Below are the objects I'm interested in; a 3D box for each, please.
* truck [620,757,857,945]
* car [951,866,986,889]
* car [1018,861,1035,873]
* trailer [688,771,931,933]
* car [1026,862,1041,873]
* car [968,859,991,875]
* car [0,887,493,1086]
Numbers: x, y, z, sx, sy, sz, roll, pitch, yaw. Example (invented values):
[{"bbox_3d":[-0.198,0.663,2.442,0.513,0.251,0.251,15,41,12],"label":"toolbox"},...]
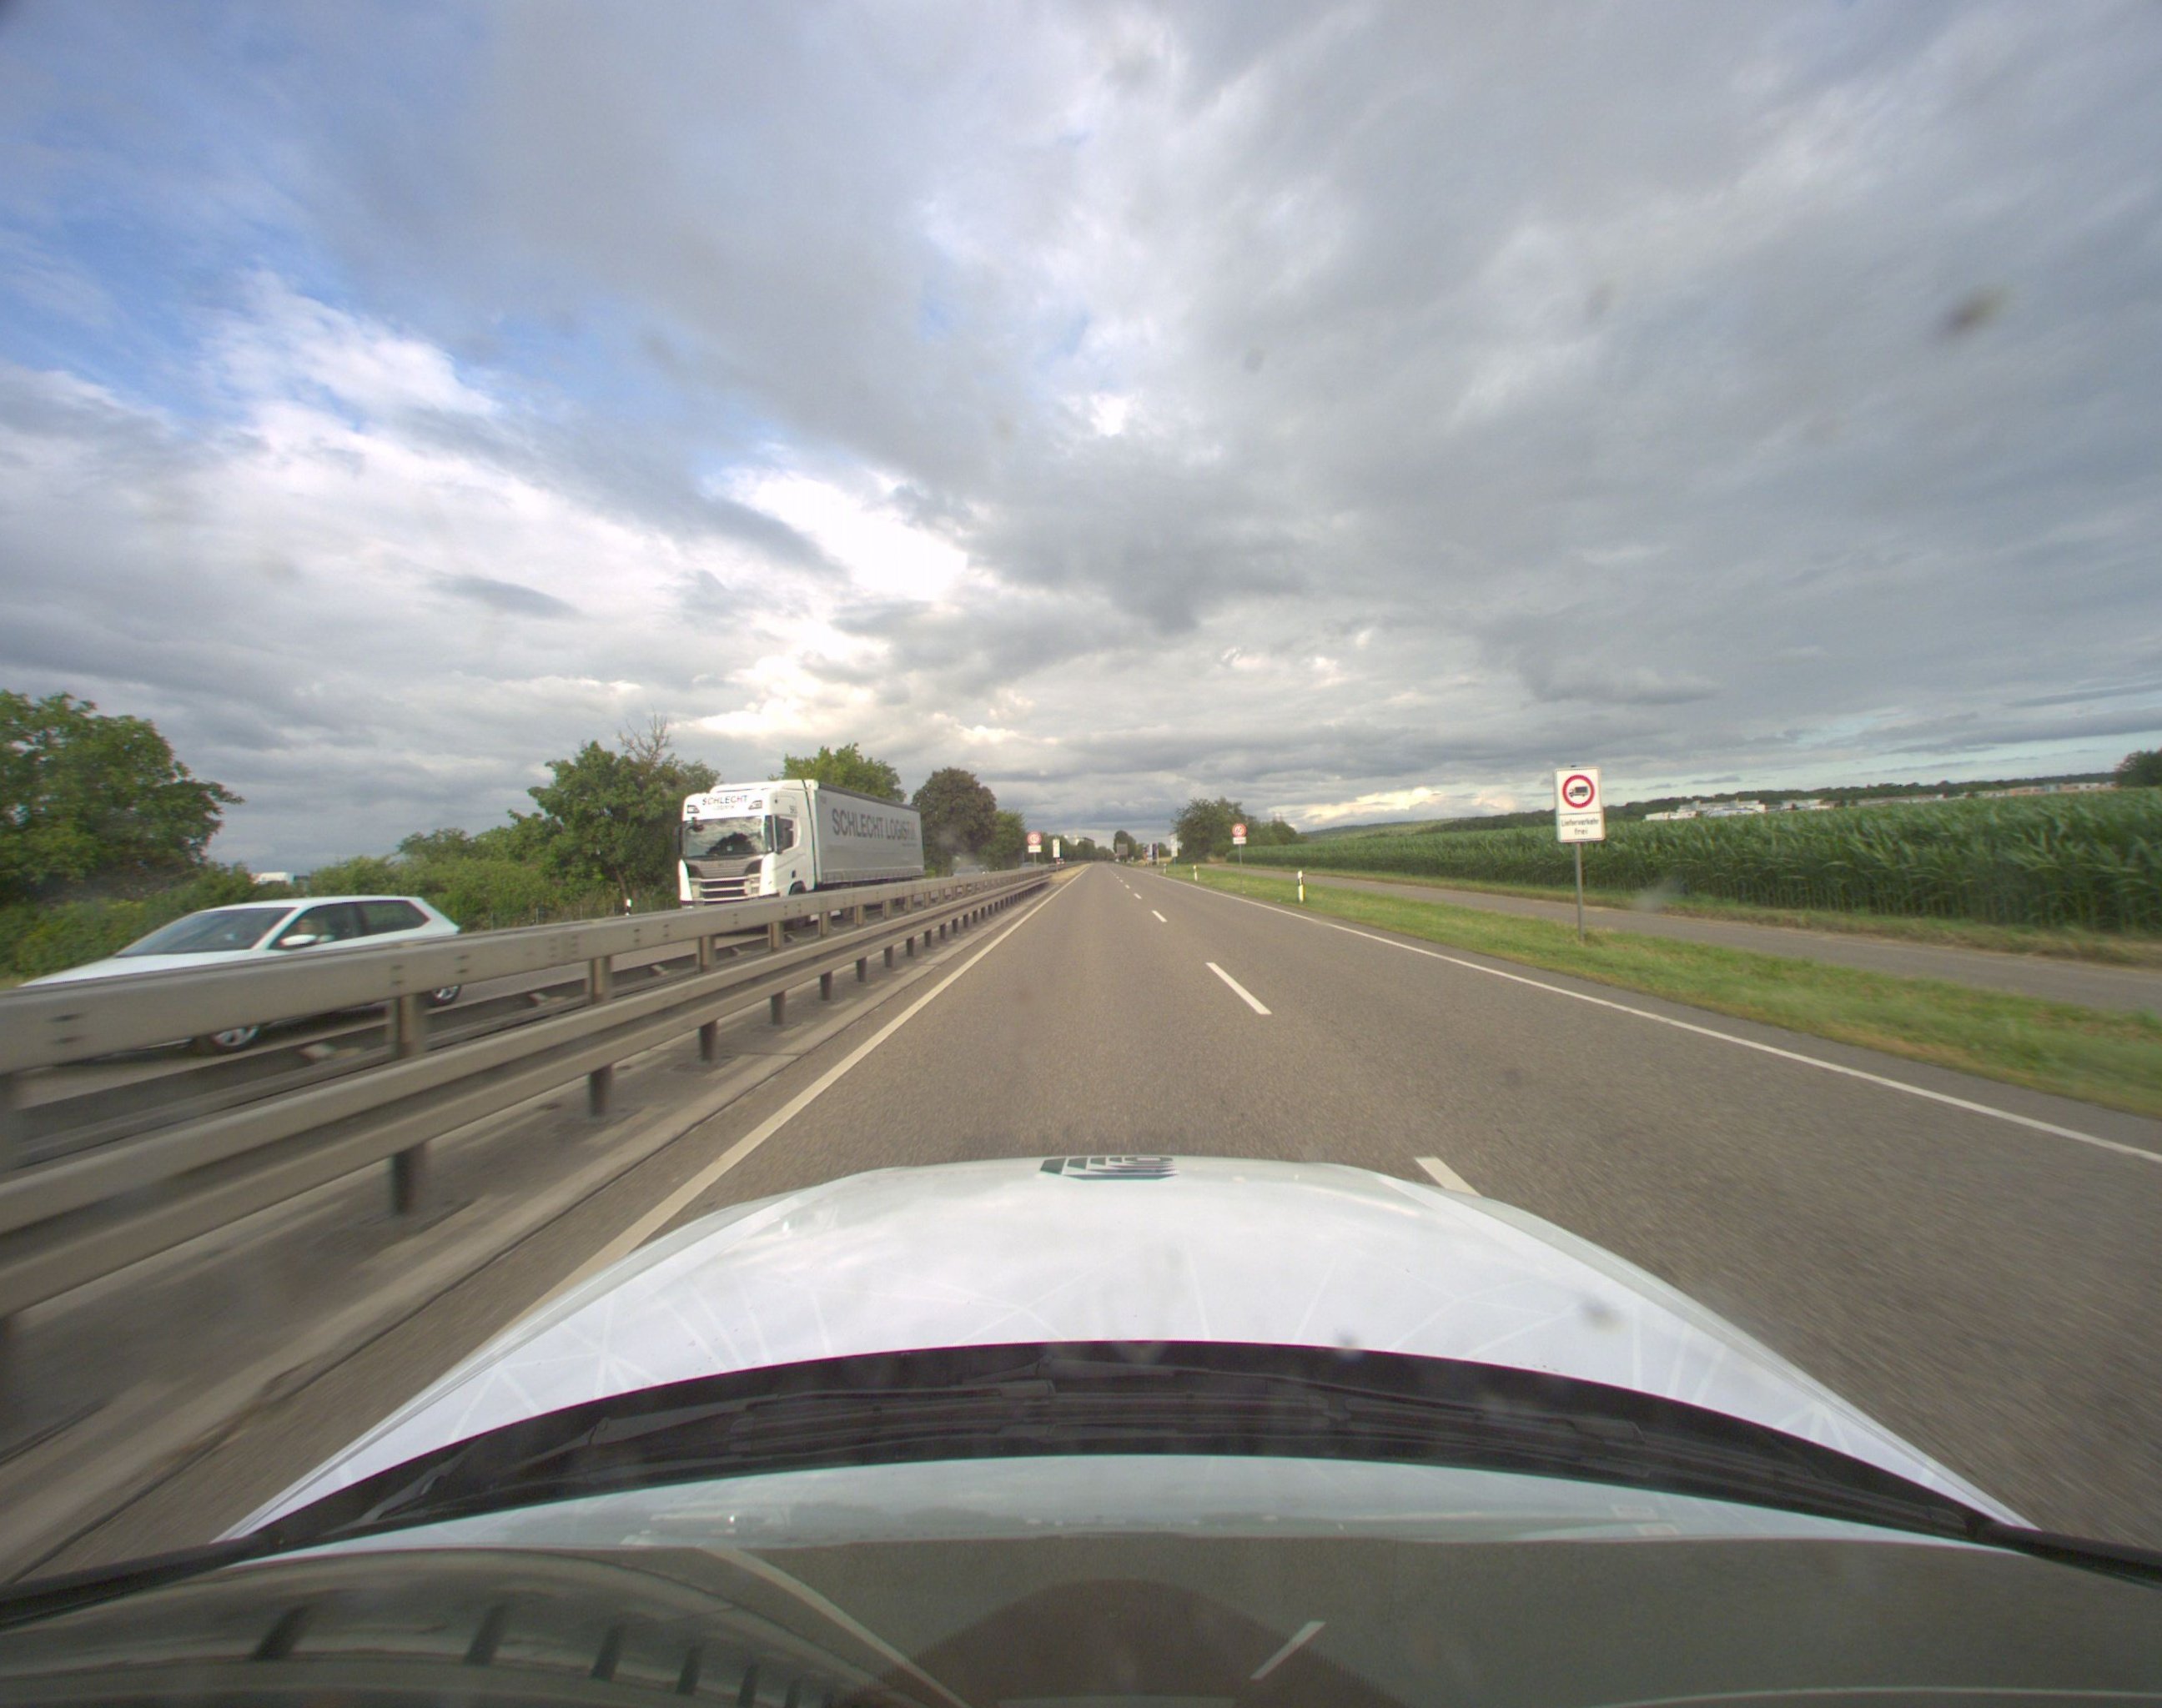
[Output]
[{"bbox_3d":[-8.868,-0.058,22.117,3.462,4.150,6.051,-4,0,1],"label":"truck"},{"bbox_3d":[-7.903,1.624,57.605,1.783,1.386,4.161,-3,0,1],"label":"car"},{"bbox_3d":[-7.208,1.724,108.338,1.860,1.477,4.826,-3,0,1],"label":"car"},{"bbox_3d":[-8.671,-0.043,29.085,3.453,4.150,13.919,-4,0,1],"label":"trailer"},{"bbox_3d":[-7.054,2.031,121.952,1.860,1.477,4.936,-3,0,1],"label":"car"},{"bbox_3d":[-10.521,1.316,84.661,1.783,1.573,4.161,-3,0,1],"label":"car"},{"bbox_3d":[-8.929,1.221,8.945,1.783,1.444,4.161,-3,0,1],"label":"car"}]
